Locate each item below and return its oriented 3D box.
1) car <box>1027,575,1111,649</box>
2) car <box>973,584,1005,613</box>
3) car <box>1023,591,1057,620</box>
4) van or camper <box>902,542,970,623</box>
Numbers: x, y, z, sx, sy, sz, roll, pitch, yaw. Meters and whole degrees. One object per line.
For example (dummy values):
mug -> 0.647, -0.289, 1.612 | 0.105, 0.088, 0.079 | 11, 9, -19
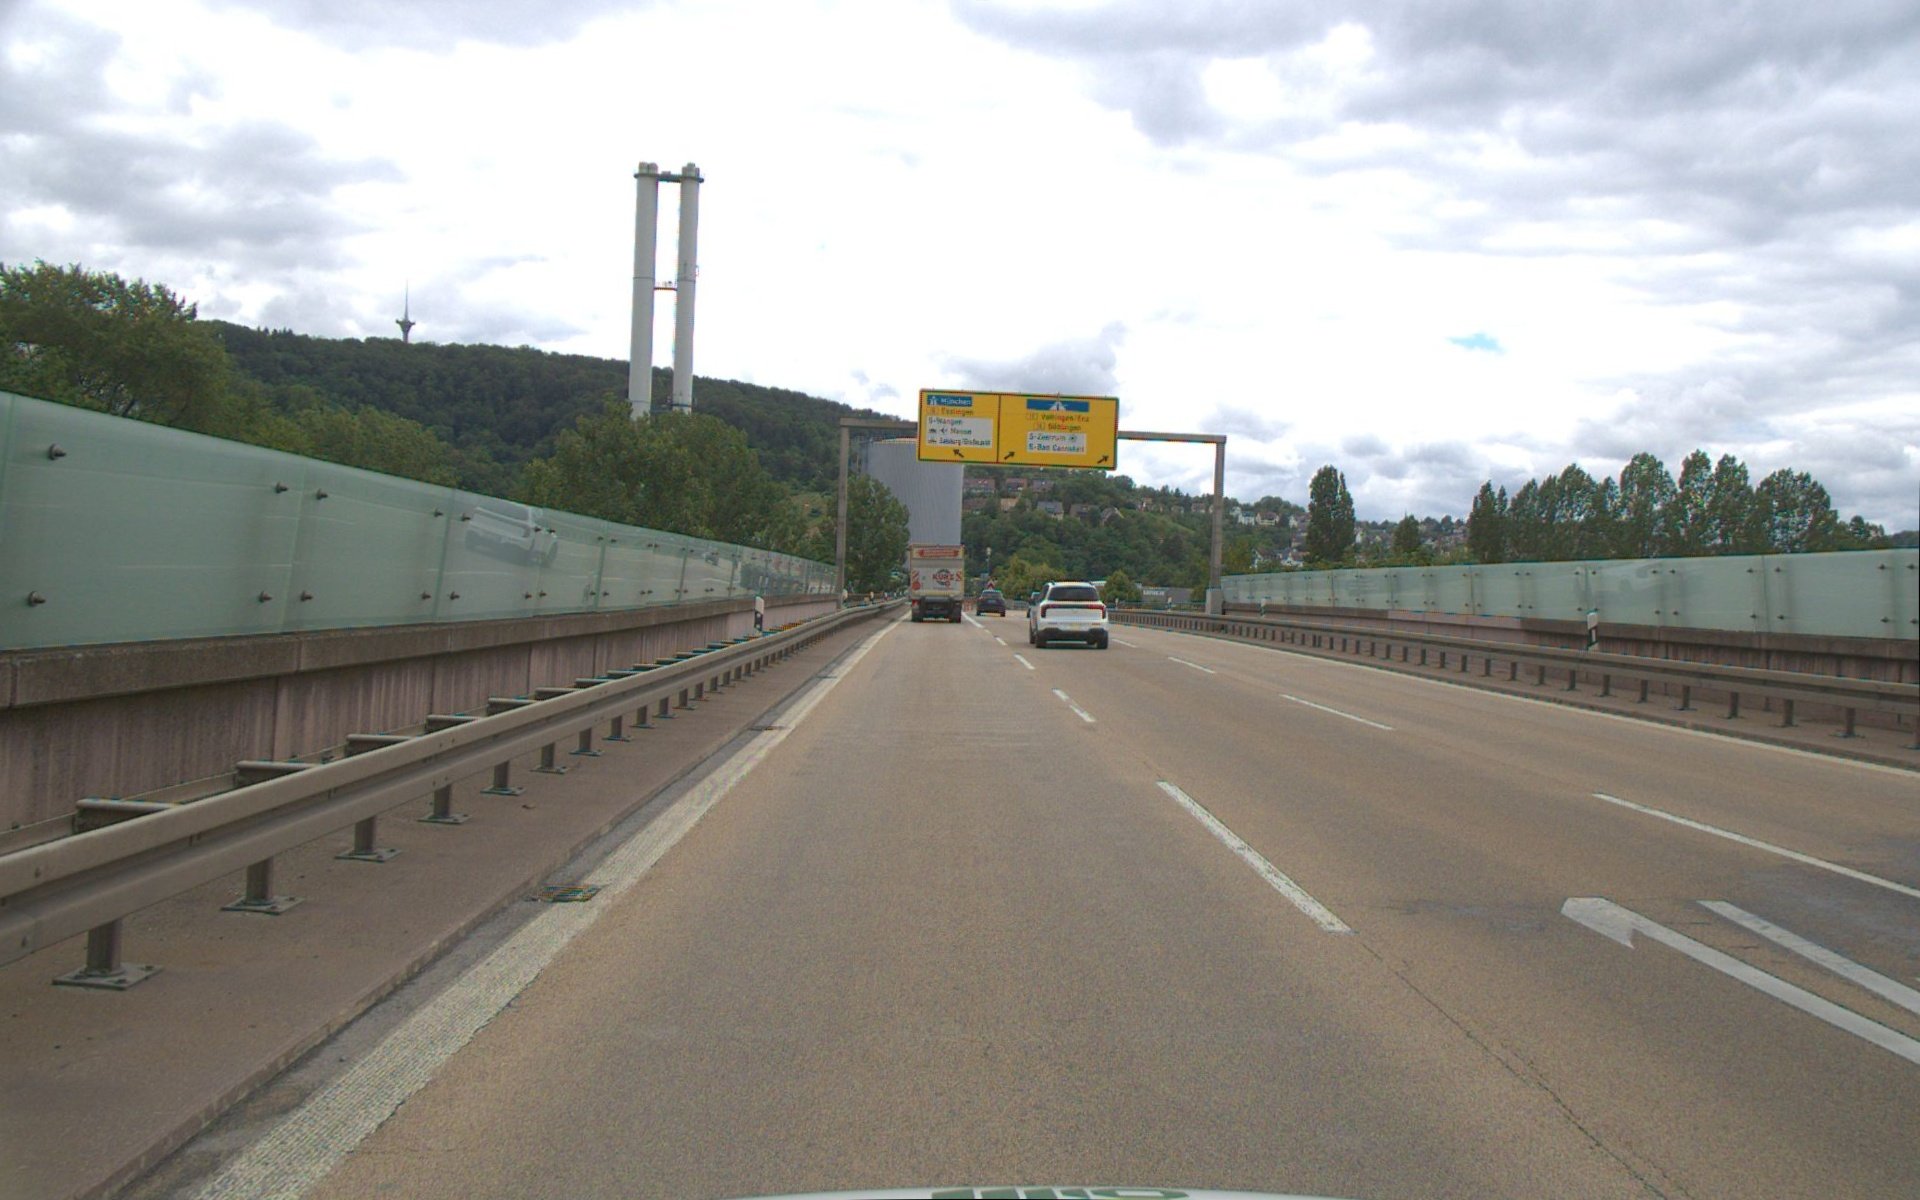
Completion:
car -> 2.789, 0.284, 43.180 | 1.884, 1.816, 4.113 | 1, 1, 0
car -> 1.848, -0.136, 106.529 | 1.884, 1.816, 4.113 | 1, 1, 0
car -> 5.266, 0.335, 109.656 | 1.885, 1.816, 4.111 | 1, 1, -2
van or camper -> -1.076, -0.812, 80.047 | 3.058, 3.642, 8.550 | 1, 0, 0
